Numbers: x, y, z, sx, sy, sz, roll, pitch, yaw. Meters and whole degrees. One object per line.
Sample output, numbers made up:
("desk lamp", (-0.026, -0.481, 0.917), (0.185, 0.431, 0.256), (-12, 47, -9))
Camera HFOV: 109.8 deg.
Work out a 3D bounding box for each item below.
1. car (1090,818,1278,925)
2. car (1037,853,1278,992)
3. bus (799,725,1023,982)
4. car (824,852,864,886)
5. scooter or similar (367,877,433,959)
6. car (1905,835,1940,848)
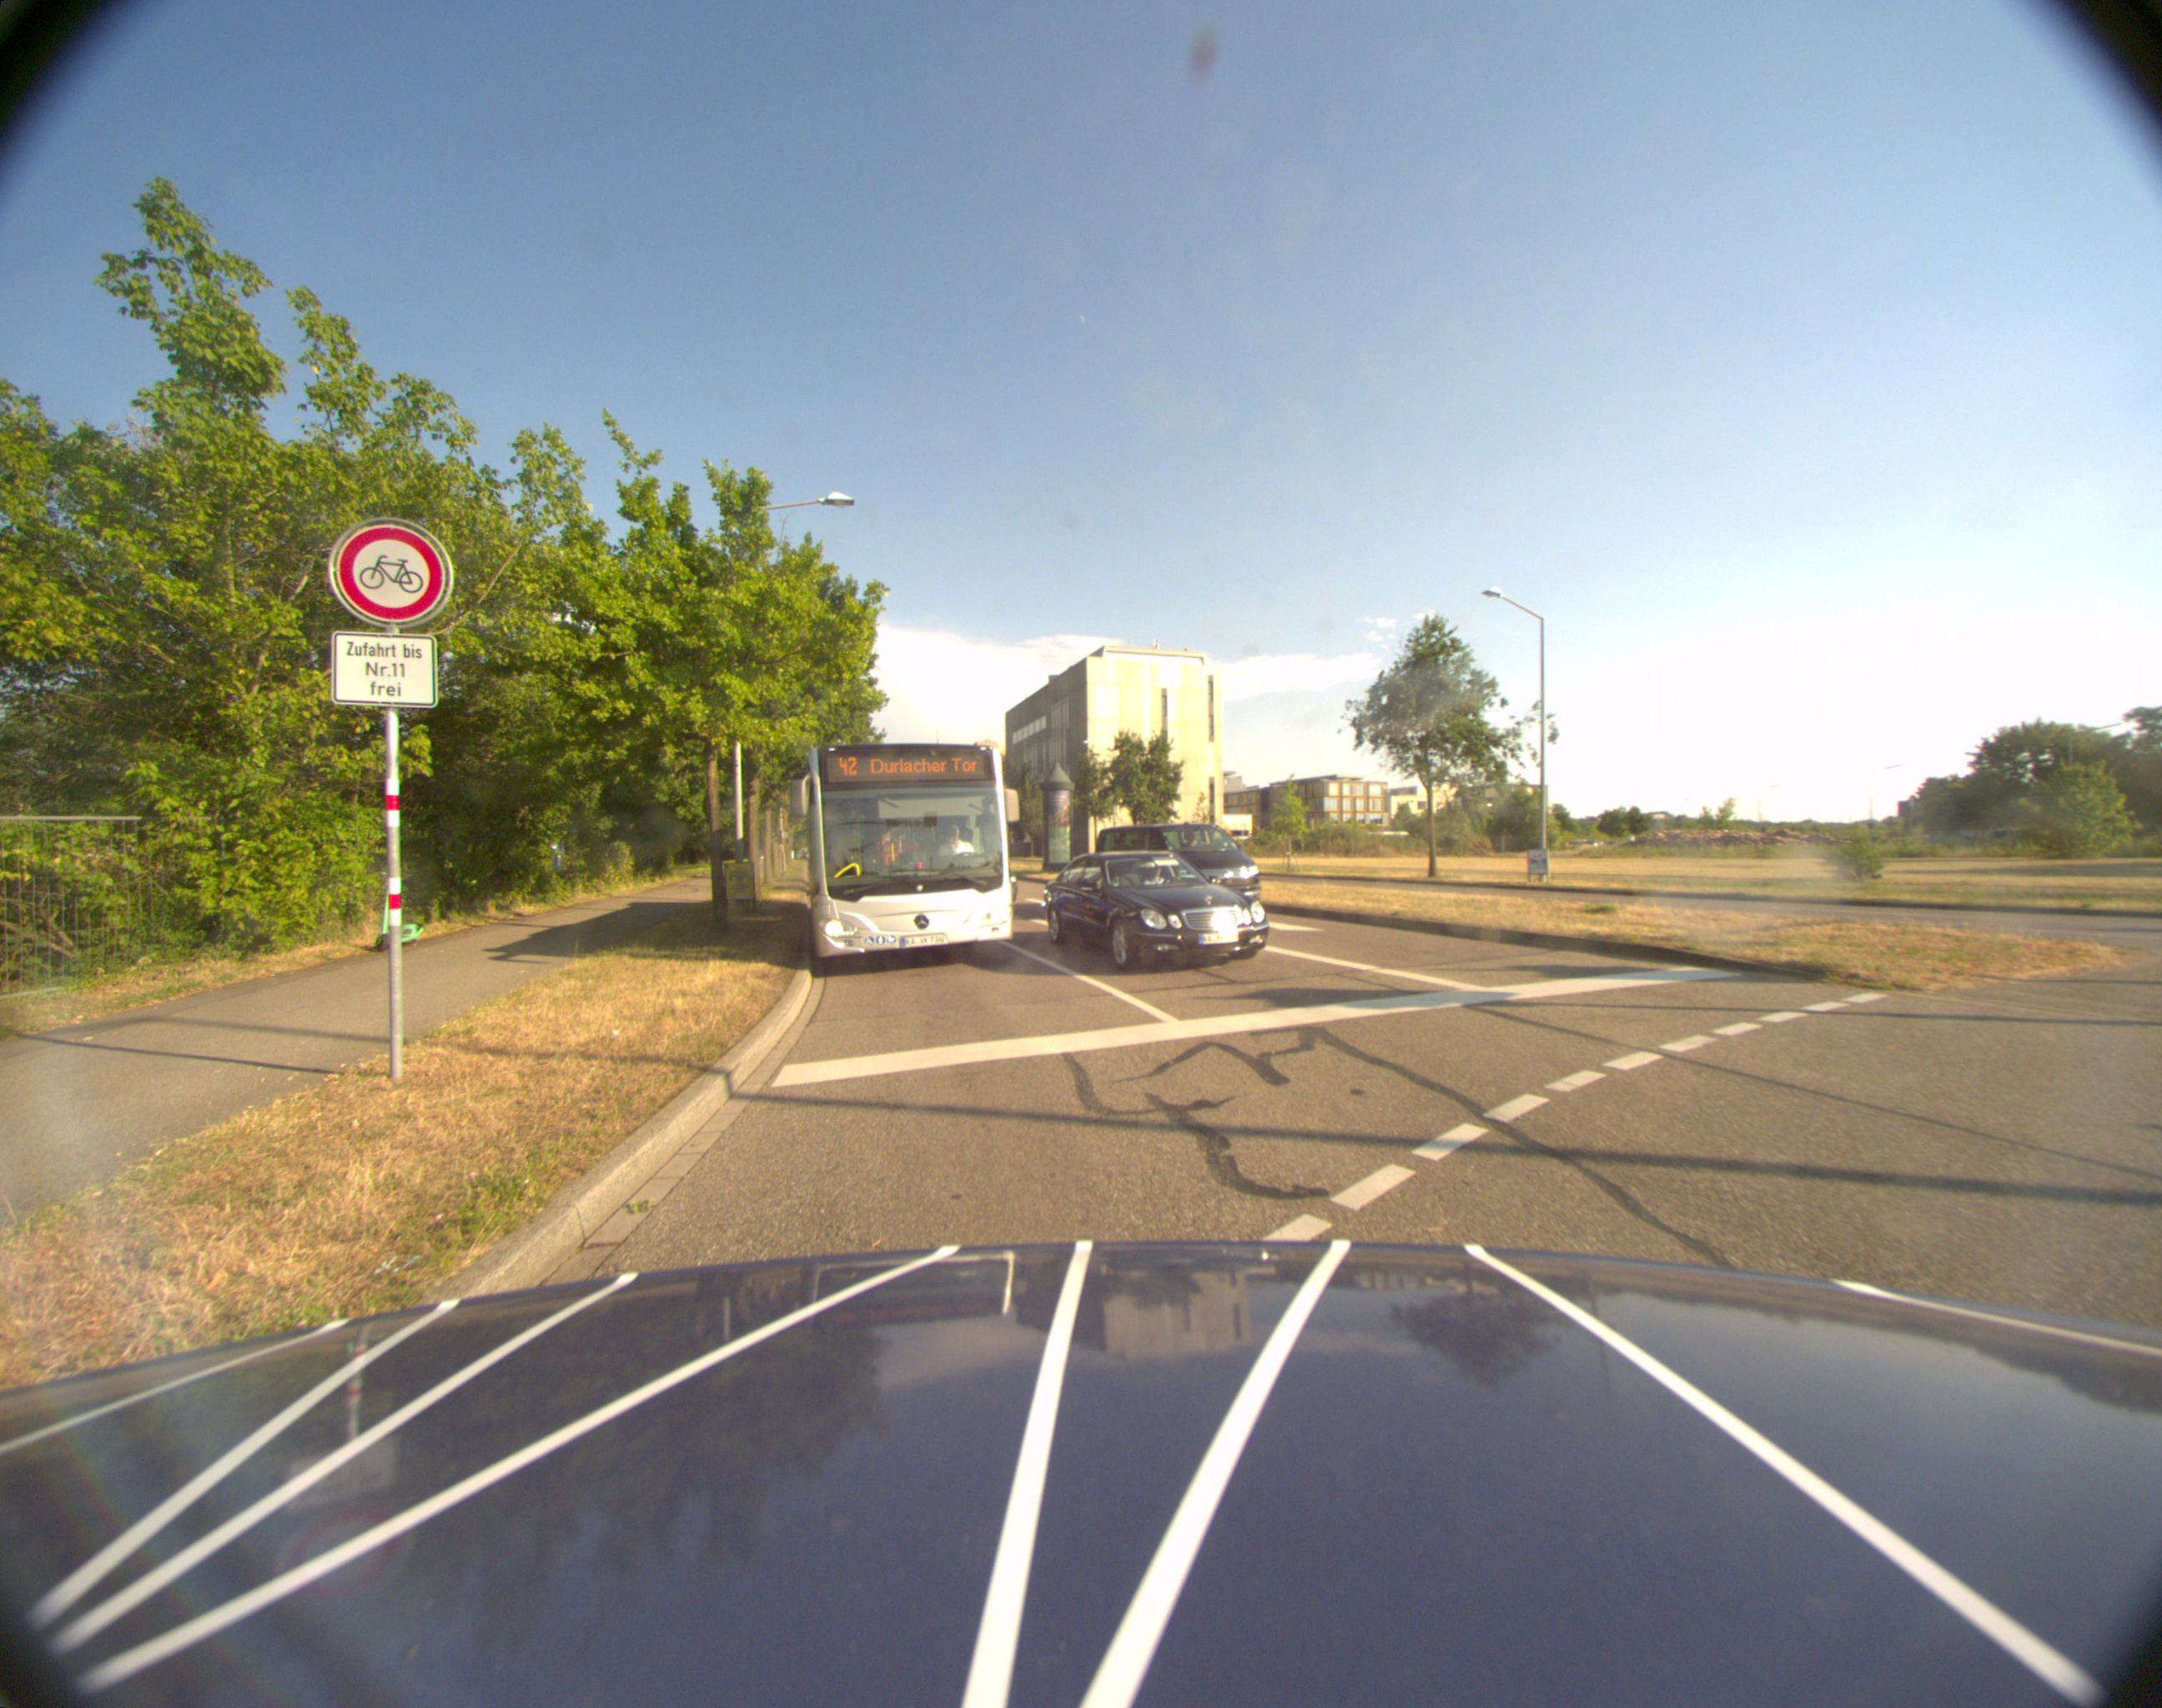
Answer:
("car", (2.014, 0.296, 16.649), (1.864, 1.921, 5.004), (-3, 2, -20))
("car", (0.776, 0.744, 10.676), (1.812, 1.428, 4.487), (-3, 1, -16))
("bus", (-4.052, -0.057, 14.879), (2.599, 3.025, 11.698), (-2, 1, -20))
("car", (-11.429, 0.676, 36.529), (1.587, 1.553, 3.620), (-1, 1, -21))
("scooter or similar", (-10.120, 0.929, 11.315), (0.249, 1.119, 1.093), (2, 0, -15))
("car", (85.777, -1.257, 77.447), (1.333, 1.284, 2.809), (-1, 1, 24))
